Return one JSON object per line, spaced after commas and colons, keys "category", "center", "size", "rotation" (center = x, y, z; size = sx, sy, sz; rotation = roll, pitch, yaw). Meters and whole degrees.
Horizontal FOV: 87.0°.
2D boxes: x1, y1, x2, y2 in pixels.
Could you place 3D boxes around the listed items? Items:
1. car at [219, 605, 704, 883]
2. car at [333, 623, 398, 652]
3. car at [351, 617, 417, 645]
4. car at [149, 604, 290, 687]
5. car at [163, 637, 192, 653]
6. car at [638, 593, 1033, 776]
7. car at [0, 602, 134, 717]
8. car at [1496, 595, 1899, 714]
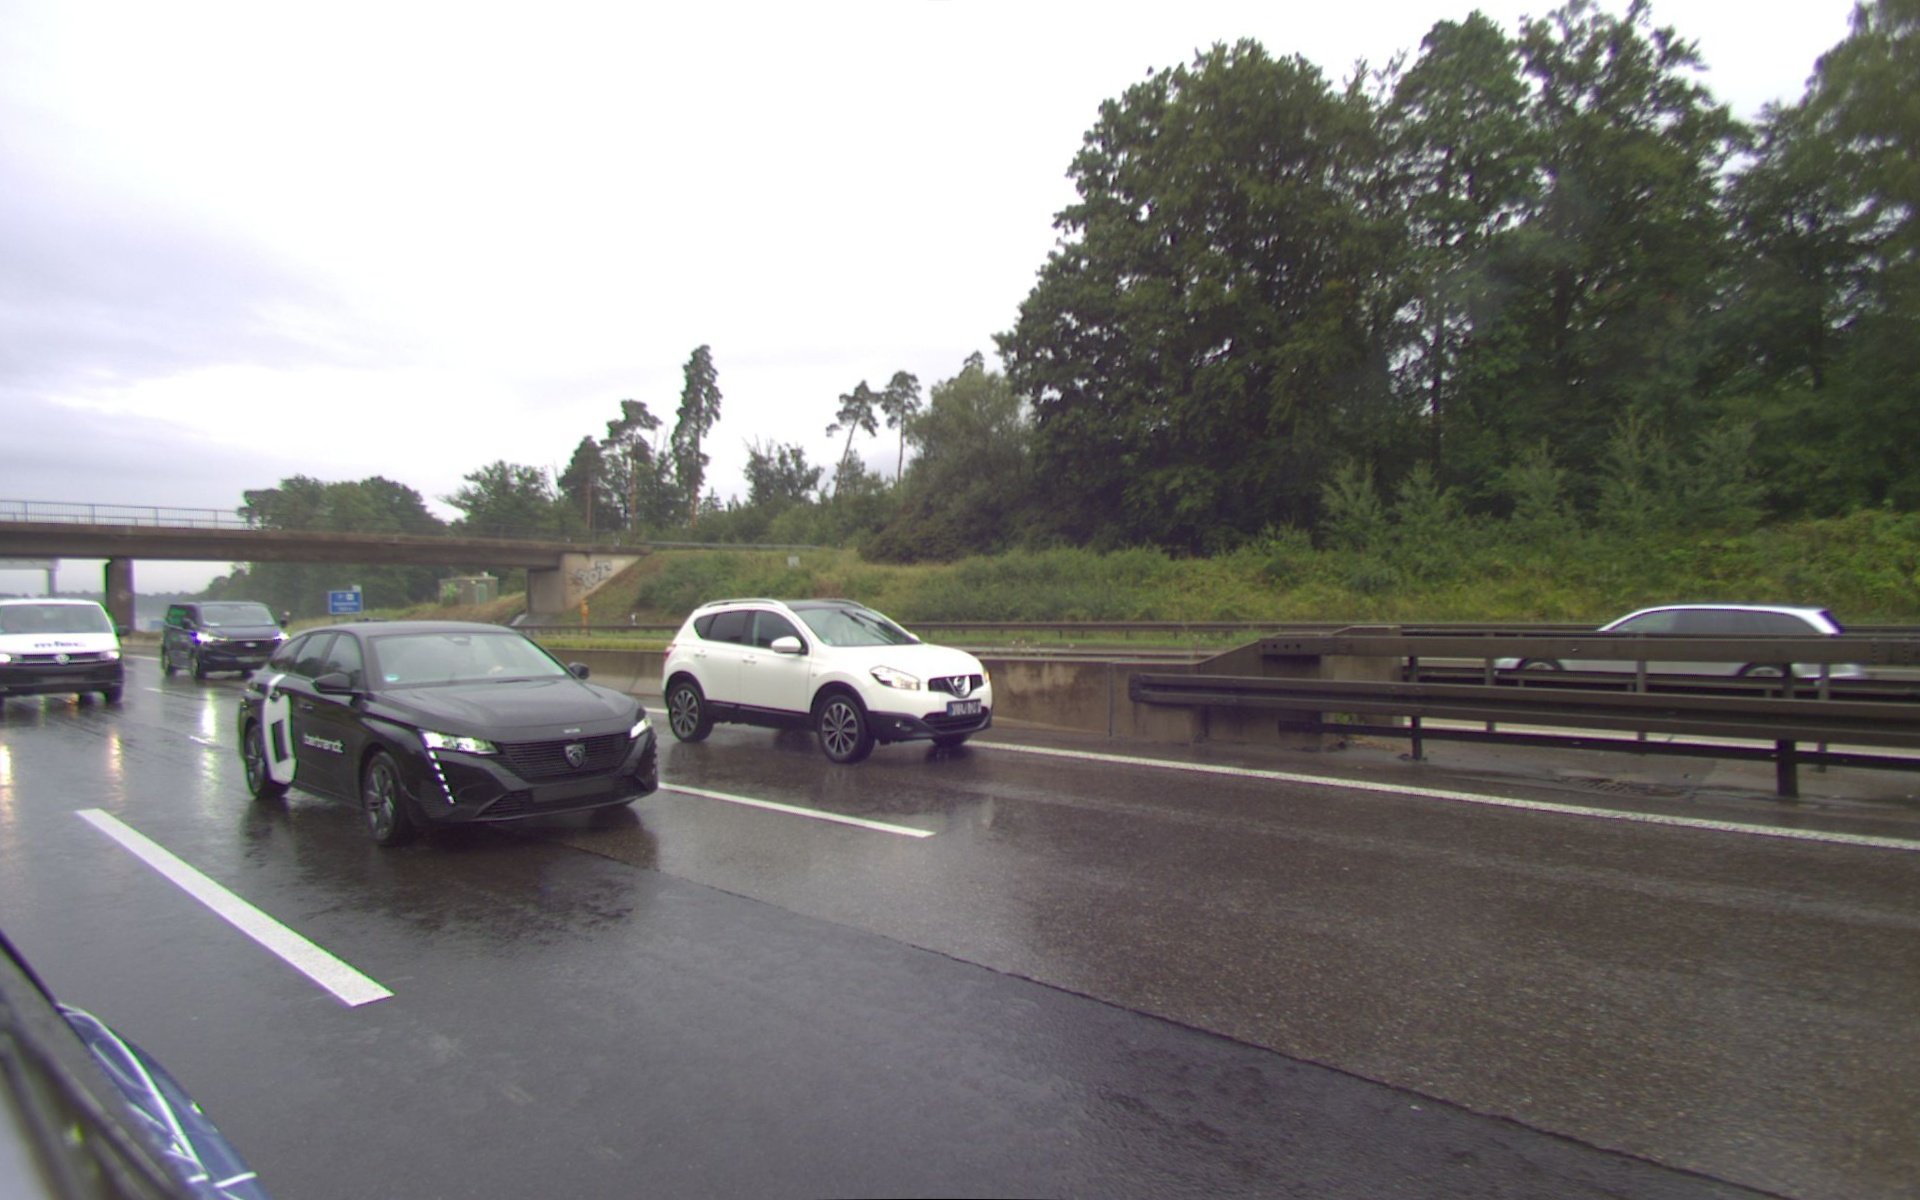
{"category": "car", "center": [-4.034, 0.847, 7.786], "size": [4.465, 1.516, 1.826], "rotation": [-2, -1, 42]}
{"category": "car", "center": [-30.723, 1.910, 52.261], "size": [3.949, 1.401, 1.699], "rotation": [-2, -1, 40]}
{"category": "car", "center": [-28.969, 1.556, 50.831], "size": [3.674, 1.355, 1.783], "rotation": [-2, -1, 41]}
{"category": "car", "center": [-19.453, 1.111, 26.487], "size": [5.242, 1.958, 1.970], "rotation": [-1, -1, 42]}
{"category": "car", "center": [-85.122, 4.910, 110.034], "size": [3.943, 1.603, 1.826], "rotation": [-2, -1, 42]}
{"category": "car", "center": [-1.525, 0.789, 11.109], "size": [4.465, 1.603, 1.826], "rotation": [-2, -1, 42]}
{"category": "car", "center": [-17.222, 1.039, 18.983], "size": [4.766, 1.894, 1.969], "rotation": [-2, -1, 42]}
{"category": "car", "center": [10.770, 0.746, 15.101], "size": [4.605, 1.509, 1.817], "rotation": [-2, -1, 40]}
